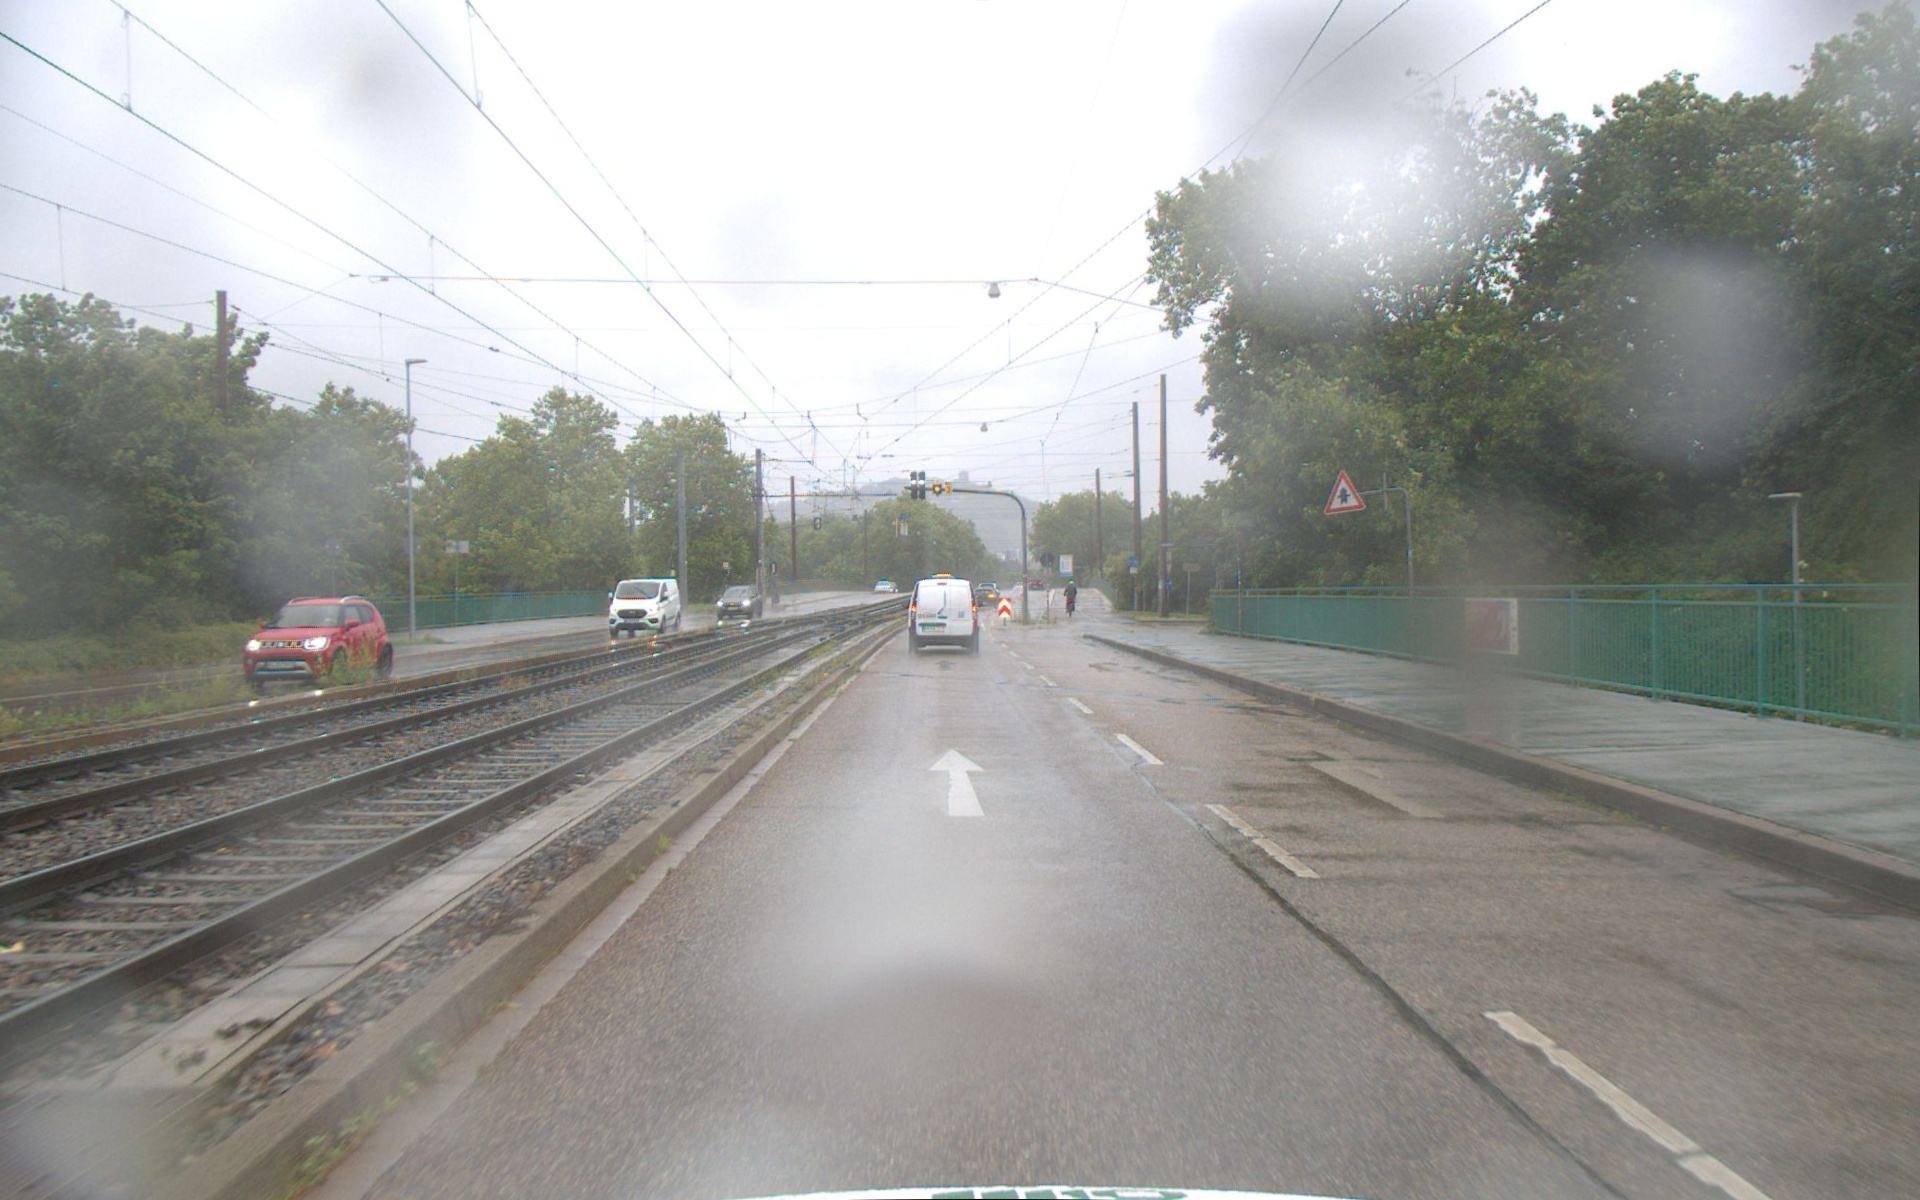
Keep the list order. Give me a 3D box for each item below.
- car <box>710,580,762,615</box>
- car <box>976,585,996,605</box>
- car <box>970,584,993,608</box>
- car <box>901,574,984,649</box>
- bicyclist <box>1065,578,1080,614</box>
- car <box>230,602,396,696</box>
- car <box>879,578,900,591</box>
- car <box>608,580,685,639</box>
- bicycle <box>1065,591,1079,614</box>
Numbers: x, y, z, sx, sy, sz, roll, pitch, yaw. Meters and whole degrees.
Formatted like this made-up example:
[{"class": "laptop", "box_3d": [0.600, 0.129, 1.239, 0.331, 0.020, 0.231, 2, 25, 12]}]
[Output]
[{"class": "car", "box_3d": [-11.338, -0.155, 84.089, 1.953, 1.677, 5.370, 1, 0, -1]}, {"class": "car", "box_3d": [1.974, -0.372, 127.105, 1.421, 1.525, 2.982, 1, 0, -1]}, {"class": "car", "box_3d": [1.391, -0.280, 107.443, 1.421, 1.525, 2.982, 1, 0, -1]}, {"class": "car", "box_3d": [-0.417, 0.274, 41.577, 1.953, 1.756, 4.000, 1, 0, 0]}, {"class": "bicyclist", "box_3d": [5.779, -0.209, 85.106, 0.710, 1.794, 0.949, 1, 0, 3]}, {"class": "car", "box_3d": [-12.028, 0.867, 30.980, 1.689, 1.629, 3.650, 1, 0, -1]}, {"class": "car", "box_3d": [-7.942, -1.734, 186.248, 1.894, 1.252, 4.102, -3, 2, 3]}, {"class": "car", "box_3d": [-11.594, 0.307, 61.459, 1.953, 2.079, 5.027, 1, 0, -1]}, {"class": "bicycle", "box_3d": [5.765, 0.128, 85.109, 0.708, 1.148, 2.169, 1, 1, 4]}]
